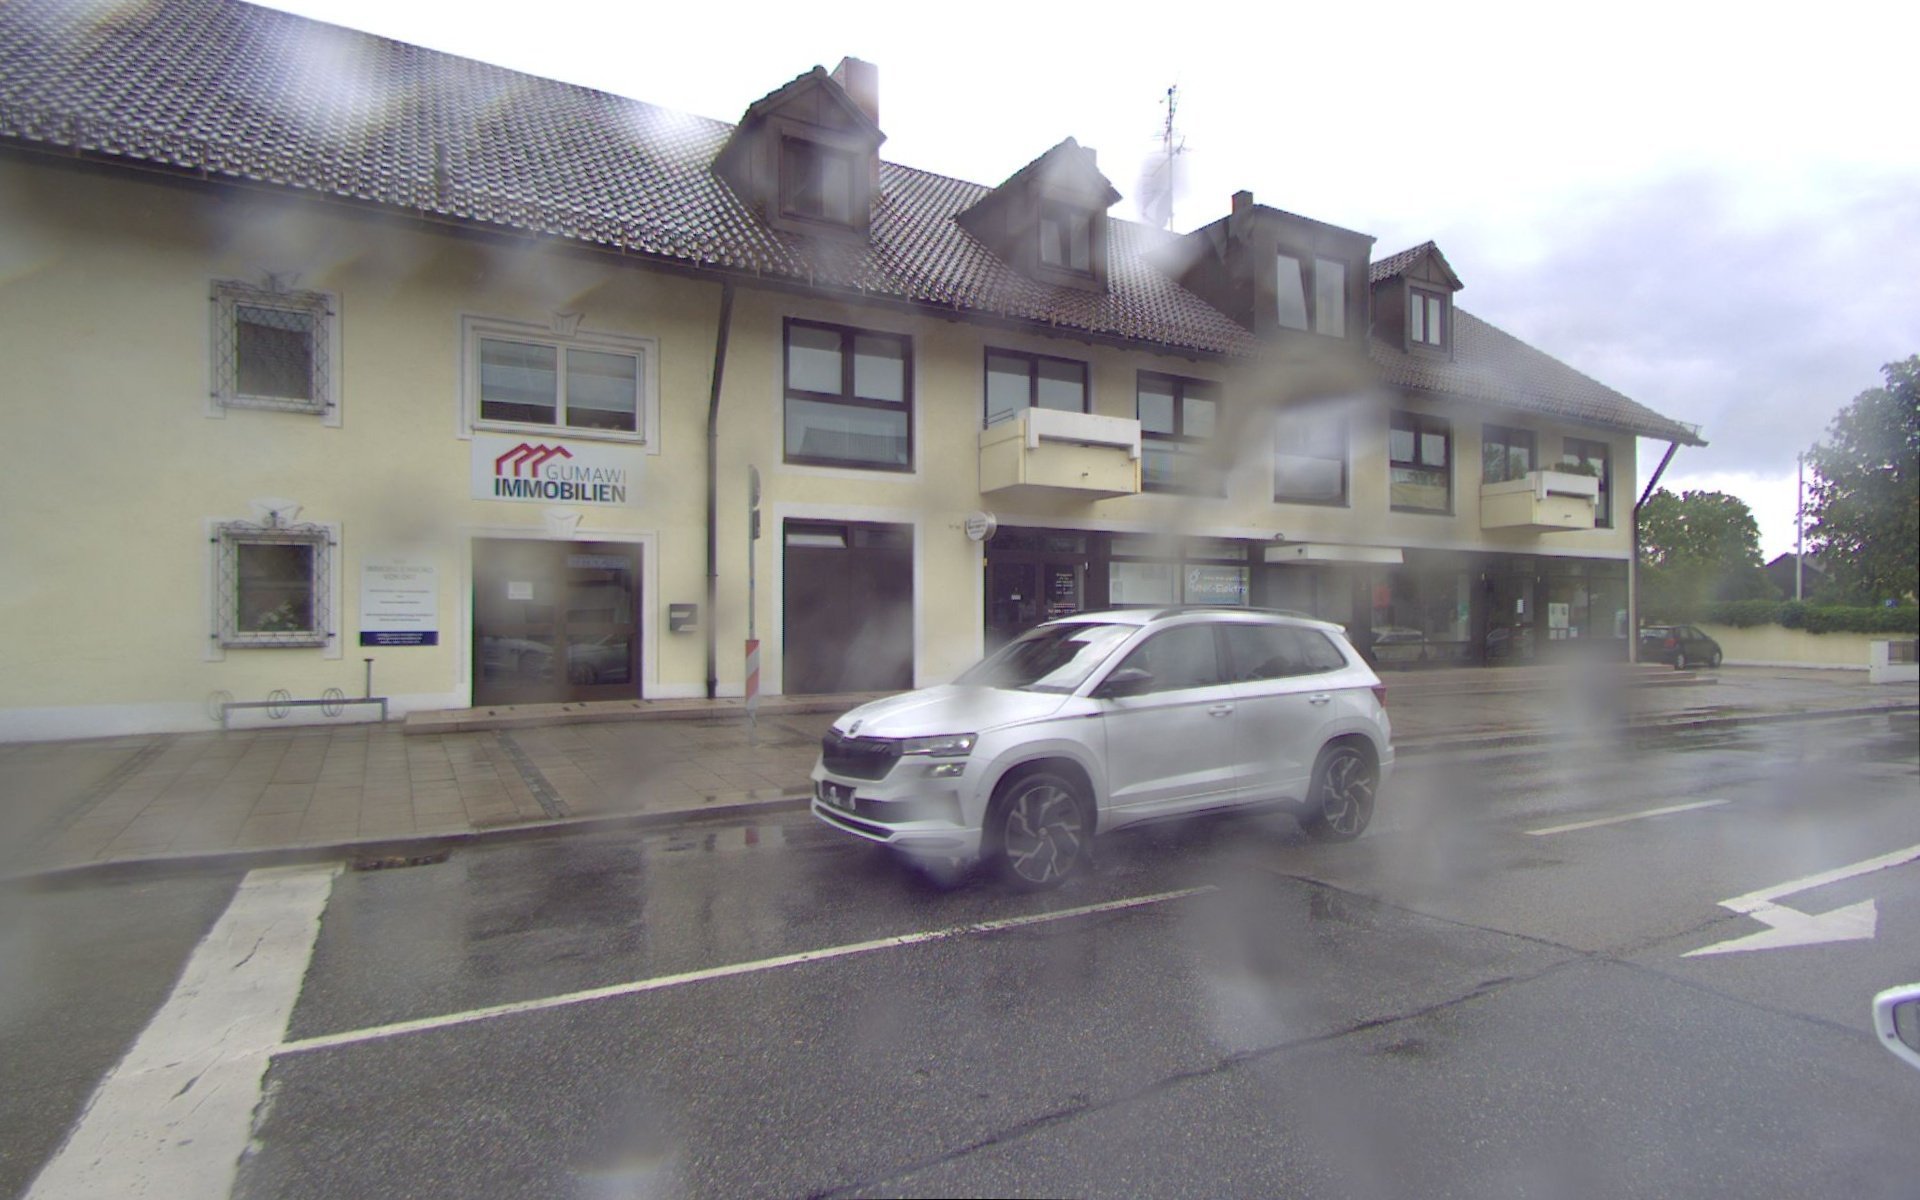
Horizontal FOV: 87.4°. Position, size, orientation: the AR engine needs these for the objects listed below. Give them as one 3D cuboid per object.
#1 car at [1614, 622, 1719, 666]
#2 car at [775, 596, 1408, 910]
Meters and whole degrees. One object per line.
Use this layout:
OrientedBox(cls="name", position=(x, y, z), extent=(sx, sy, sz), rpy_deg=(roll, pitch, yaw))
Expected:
OrientedBox(cls="car", position=(23.686, 1.463, 33.676), extent=(3.468, 1.398, 1.599), rpy_deg=(1, -2, -31))
OrientedBox(cls="car", position=(0.989, 0.829, 6.977), extent=(4.079, 1.587, 1.917), rpy_deg=(1, -2, -31))
